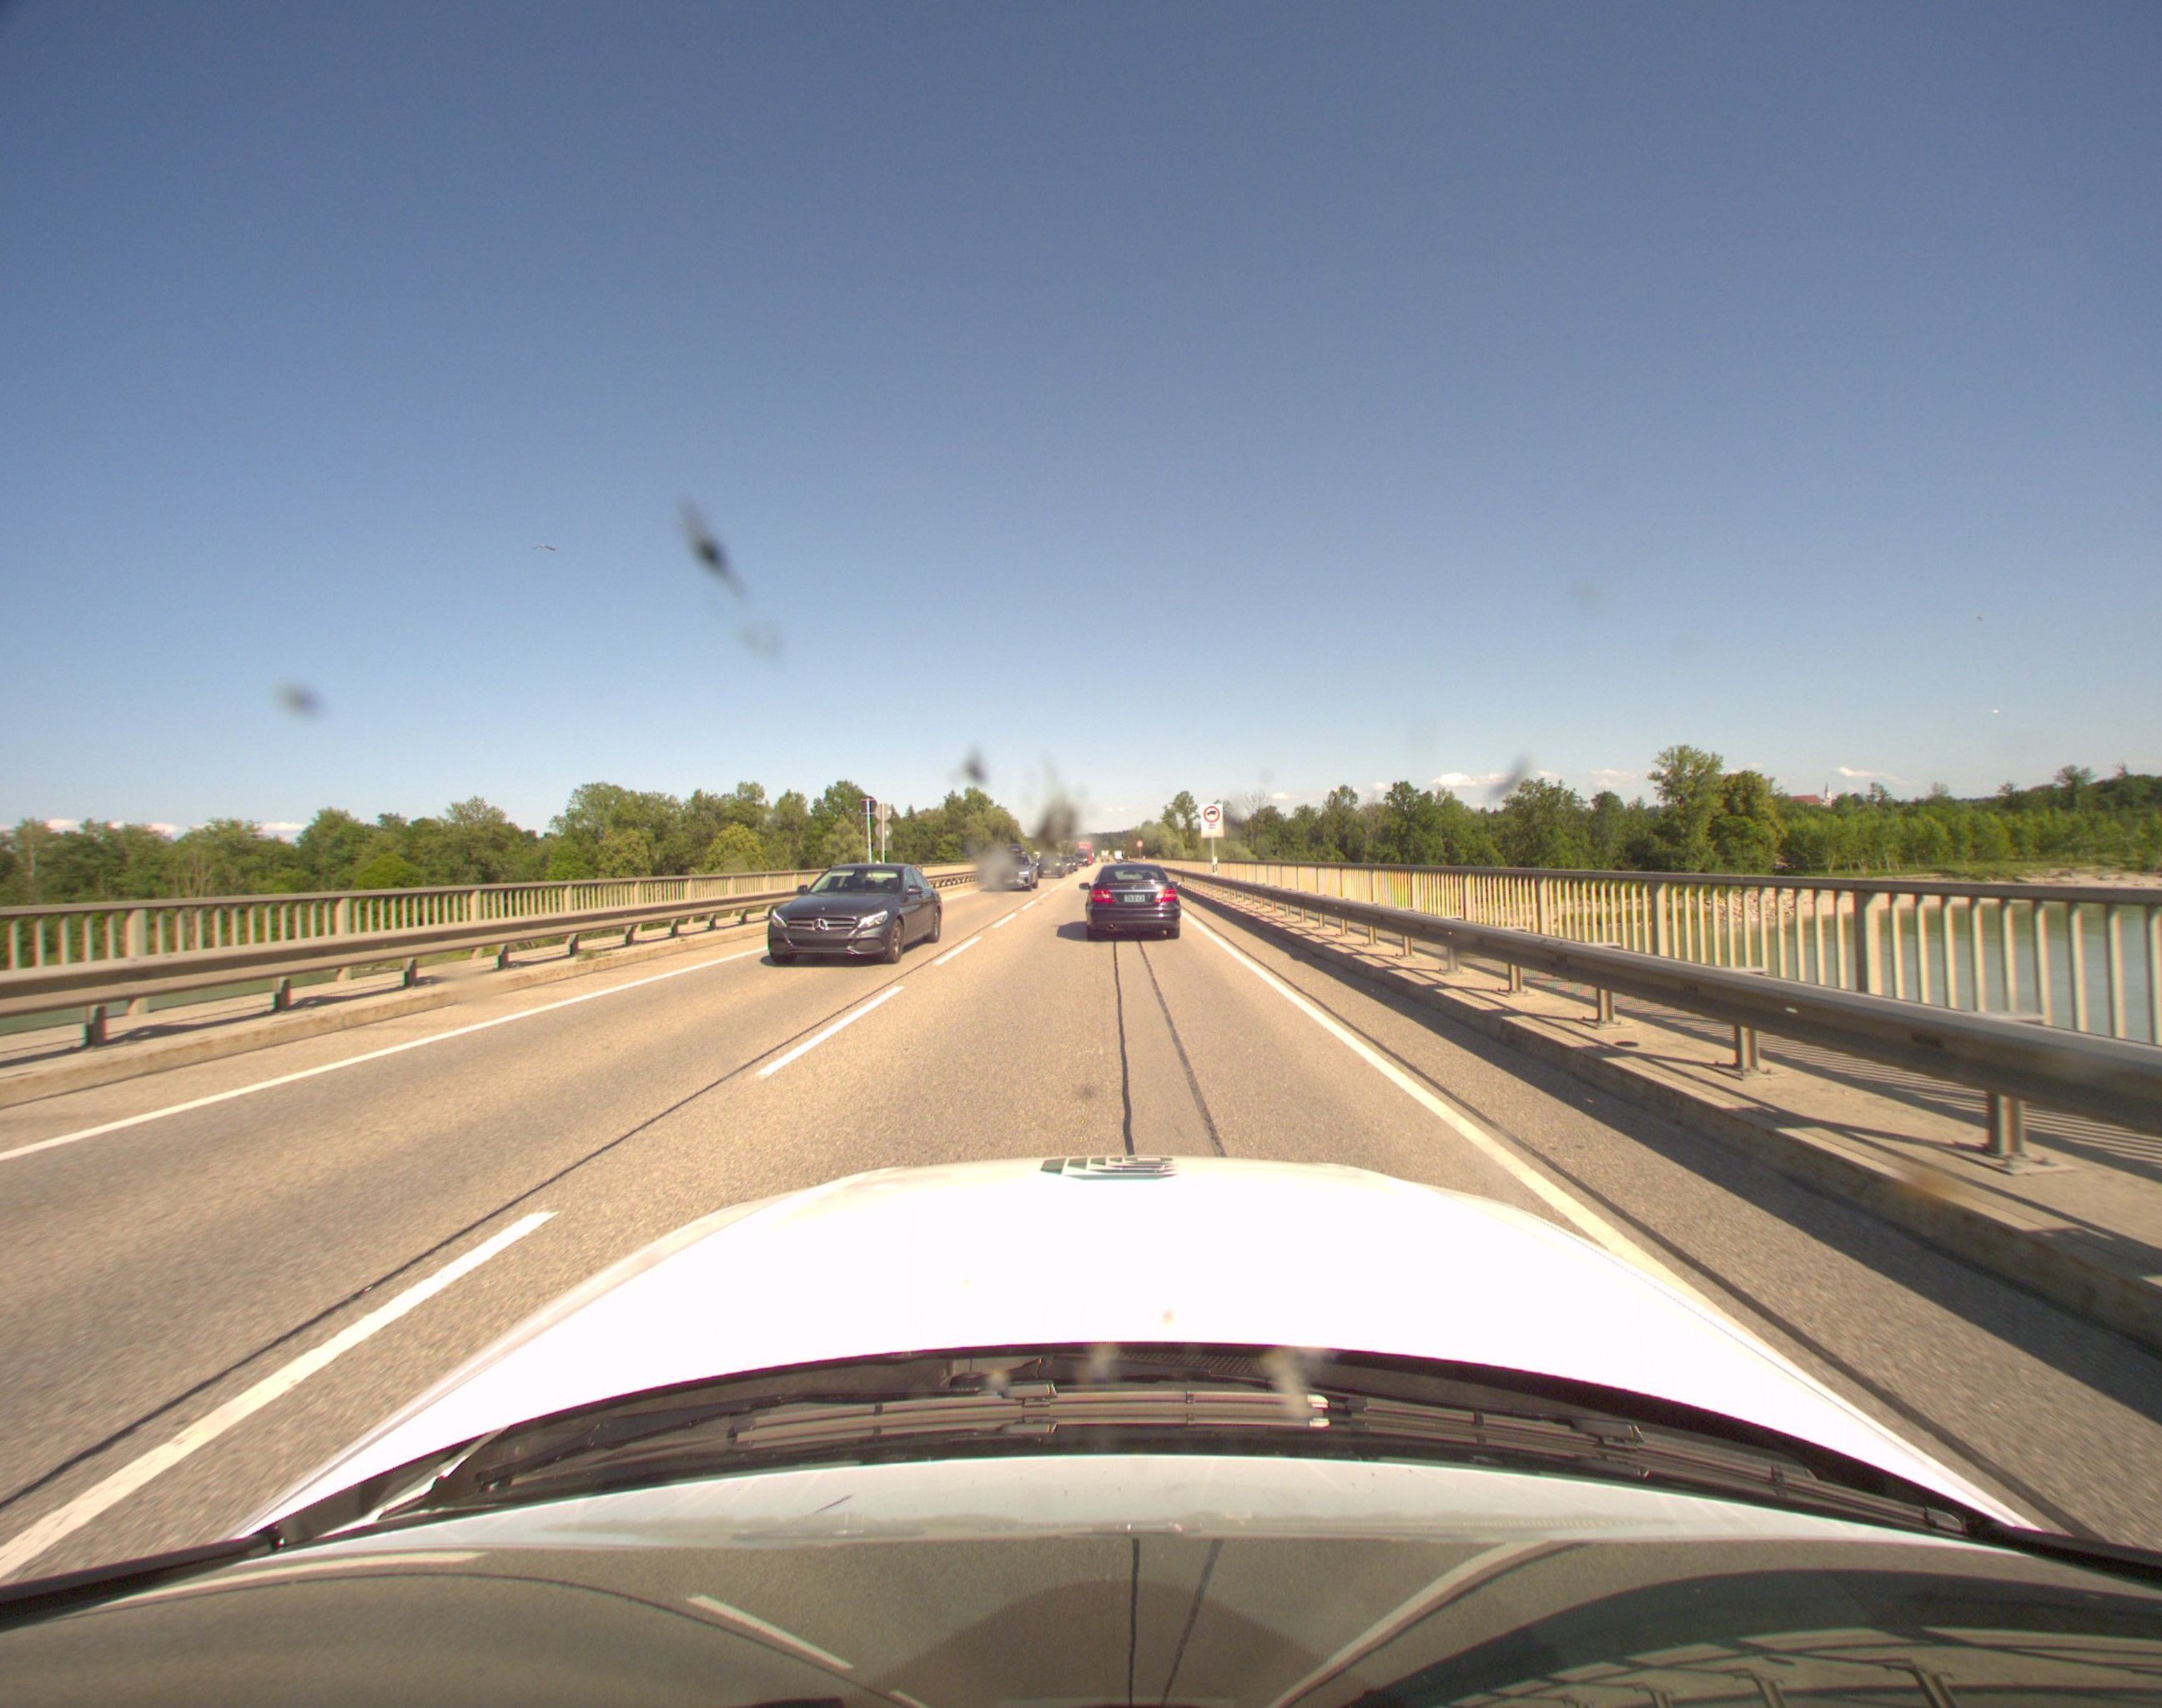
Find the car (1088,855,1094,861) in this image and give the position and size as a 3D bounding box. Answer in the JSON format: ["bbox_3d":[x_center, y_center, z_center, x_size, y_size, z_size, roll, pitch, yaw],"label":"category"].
[{"bbox_3d":[2.934,1.135,239.909,1.834,1.642,4.578,-3,0,1],"label":"car"}]

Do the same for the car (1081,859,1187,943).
[{"bbox_3d":[1.011,0.808,15.880,1.786,1.376,4.003,-1,0,3],"label":"car"}]

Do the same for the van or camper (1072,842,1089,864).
[{"bbox_3d":[-0.056,-0.121,117.106,2.307,3.051,6.818,-1,0,1],"label":"van or camper"}]

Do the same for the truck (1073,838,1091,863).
[{"bbox_3d":[0.231,-0.586,142.116,2.898,4.184,5.714,-1,0,1],"label":"truck"}]

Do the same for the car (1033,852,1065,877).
[{"bbox_3d":[-2.198,0.711,57.151,2.047,1.652,4.721,1,0,0],"label":"car"}]

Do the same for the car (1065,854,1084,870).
[{"bbox_3d":[-0.671,0.778,82.621,1.869,1.583,4.272,-1,0,-1],"label":"car"}]

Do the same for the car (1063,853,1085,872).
[{"bbox_3d":[-0.660,0.722,71.028,1.801,1.577,4.198,-1,0,-2],"label":"car"}]

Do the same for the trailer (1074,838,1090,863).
[{"bbox_3d":[0.112,-0.642,150.095,2.899,4.302,14.296,-1,0,-1],"label":"trailer"}]

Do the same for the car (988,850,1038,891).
[{"bbox_3d":[-3.018,0.706,37.106,1.848,1.722,4.566,-1,0,0],"label":"car"}]

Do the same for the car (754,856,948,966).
[{"bbox_3d":[-3.459,0.768,13.167,1.759,1.447,4.457,-1,0,1],"label":"car"}]
